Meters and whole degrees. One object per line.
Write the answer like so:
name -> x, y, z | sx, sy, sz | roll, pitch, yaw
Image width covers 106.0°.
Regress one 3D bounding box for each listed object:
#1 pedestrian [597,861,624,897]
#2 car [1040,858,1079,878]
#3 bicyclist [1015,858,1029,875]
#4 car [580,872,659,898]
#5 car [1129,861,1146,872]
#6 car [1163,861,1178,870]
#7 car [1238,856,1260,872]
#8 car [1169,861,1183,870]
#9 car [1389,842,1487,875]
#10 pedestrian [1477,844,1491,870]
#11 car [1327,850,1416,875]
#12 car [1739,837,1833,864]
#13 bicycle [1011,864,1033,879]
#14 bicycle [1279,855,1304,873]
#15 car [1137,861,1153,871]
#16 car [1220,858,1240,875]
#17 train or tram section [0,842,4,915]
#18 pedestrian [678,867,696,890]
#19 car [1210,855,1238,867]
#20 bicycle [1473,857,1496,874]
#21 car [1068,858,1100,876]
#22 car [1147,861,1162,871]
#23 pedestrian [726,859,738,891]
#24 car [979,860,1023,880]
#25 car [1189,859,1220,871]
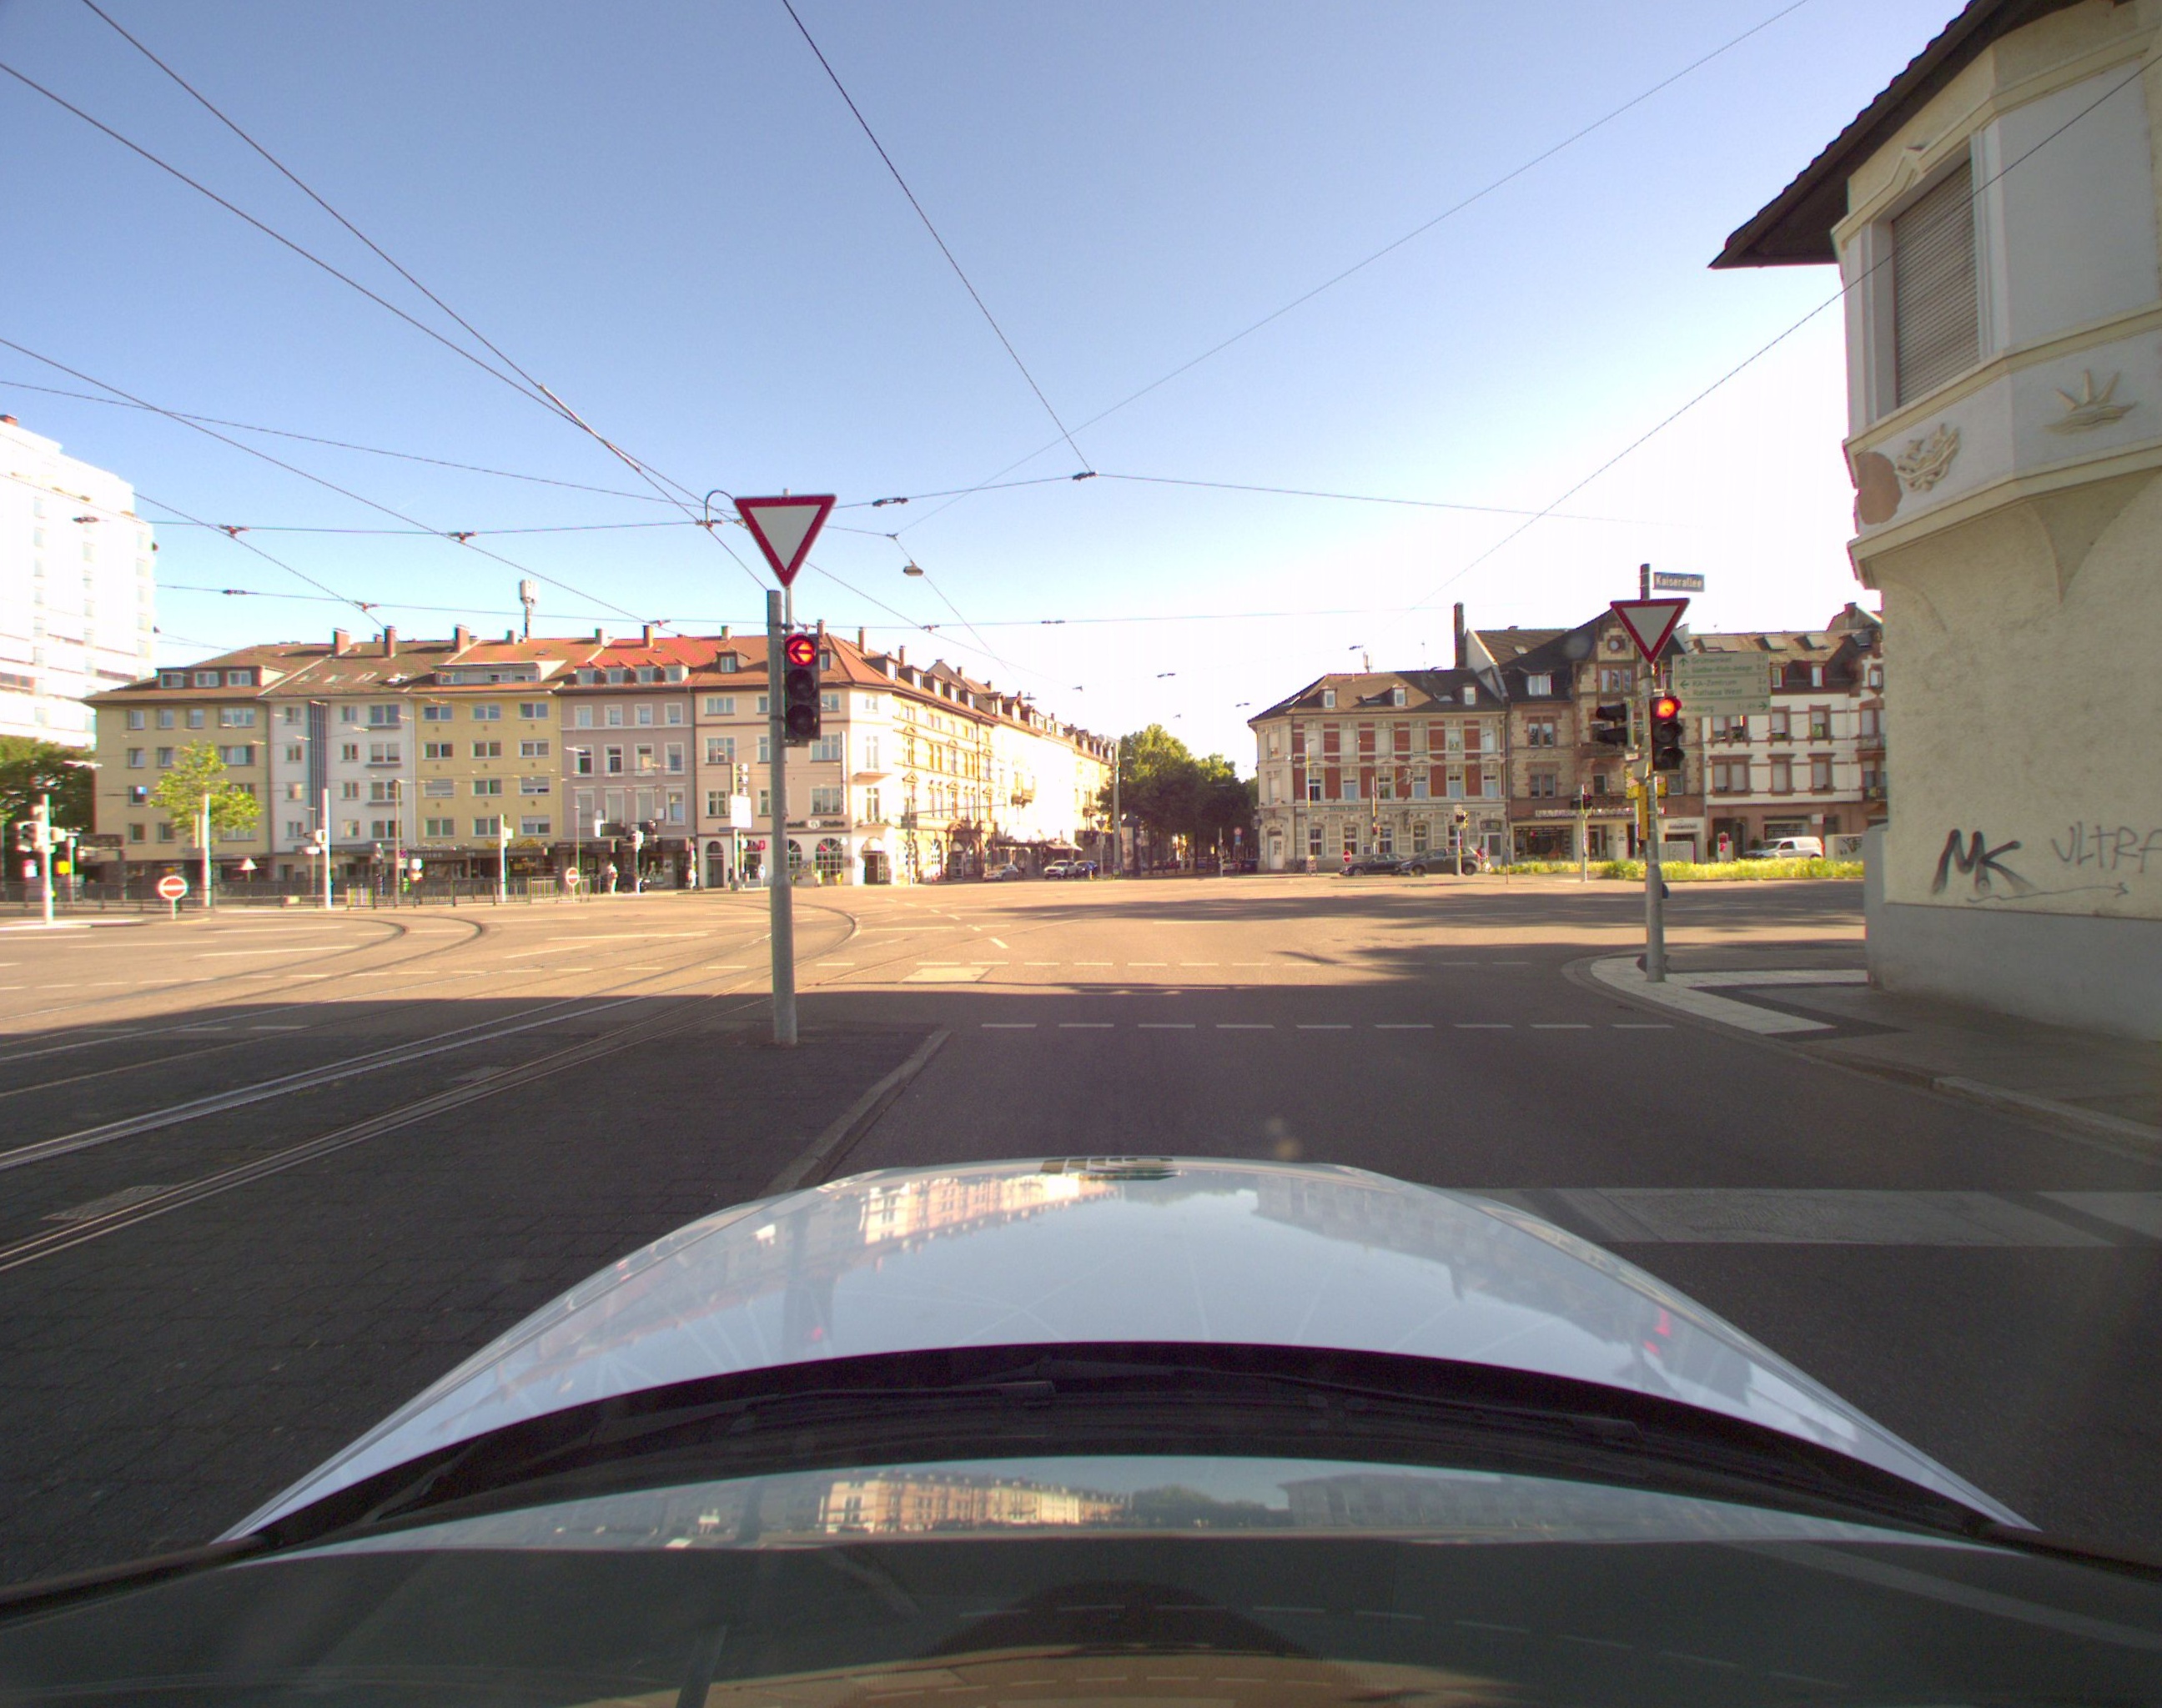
pedestrian -> -24.571, 1.311, 42.555 | 0.871, 1.818, 0.811 | -1, 0, 2
car -> -1.729, 1.167, 67.366 | 2.080, 1.499, 4.017 | -1, 0, 16
bicyclist -> -4.765, 0.991, 65.868 | 0.787, 1.375, 1.113 | -1, 0, 16
car -> -30.274, 1.992, 53.532 | 3.978, 1.464, 1.998 | -2, 0, -4
car -> 7.607, 1.658, 109.999 | 1.729, 1.397, 4.137 | 1, 0, 12
car -> 14.447, 1.820, 131.452 | 1.728, 1.397, 4.141 | 1, 0, 16
car -> 16.908, 0.999, 82.047 | 1.637, 1.524, 3.772 | -2, -1, 20
car -> 15.871, 1.844, 136.199 | 1.728, 1.397, 4.141 | 1, 0, 16
car -> 19.613, 0.239, 44.853 | 4.494, 1.672, 2.000 | -1, 0, 1
pedestrian -> 27.701, 0.202, 55.992 | 0.705, 1.751, 0.421 | -1, 0, 3
car -> 17.074, 0.516, 48.031 | 4.496, 1.341, 2.000 | -1, 0, 0
car -> 45.384, -0.222, 52.465 | 4.356, 1.654, 1.999 | -1, 0, -2
bicycle -> -4.768, 1.435, 65.897 | 0.745, 1.135, 2.821 | -1, 0, 16
bicycle -> 14.696, 0.697, 56.935 | 1.625, 1.222, 0.609 | -1, 0, 18
car -> 9.181, 1.694, 115.769 | 1.729, 1.397, 4.137 | 1, 0, 12
car -> 16.698, 1.377, 90.937 | 1.661, 1.756, 3.776 | -2, 0, 18
train or tram section -> -61.227, 1.391, 38.361 | 16.478, 3.570, 3.313 | -1, 0, 0
pedestrian -> -27.300, 1.700, 56.440 | 0.787, 1.527, 0.860 | -1, 0, 2
car -> 23.379, 1.098, 133.067 | 4.074, 1.919, 1.756 | 1, 0, 23
bicycle -> 26.053, 0.719, 52.606 | 0.603, 1.051, 1.641 | -1, 0, -3
car -> 0.293, 1.156, 73.689 | 1.979, 1.513, 4.015 | -1, 0, 14
car -> 11.069, 1.737, 122.705 | 1.729, 1.397, 4.137 | 1, 0, 12
pedestrian -> -22.778, 1.359, 53.121 | 0.506, 2.013, 0.505 | -1, 0, 5
car -> -6.597, 1.308, 67.697 | 2.080, 1.545, 4.382 | -1, 0, 16
car -> 17.491, 1.535, 114.988 | 4.078, 1.646, 1.754 | 1, 0, 17
